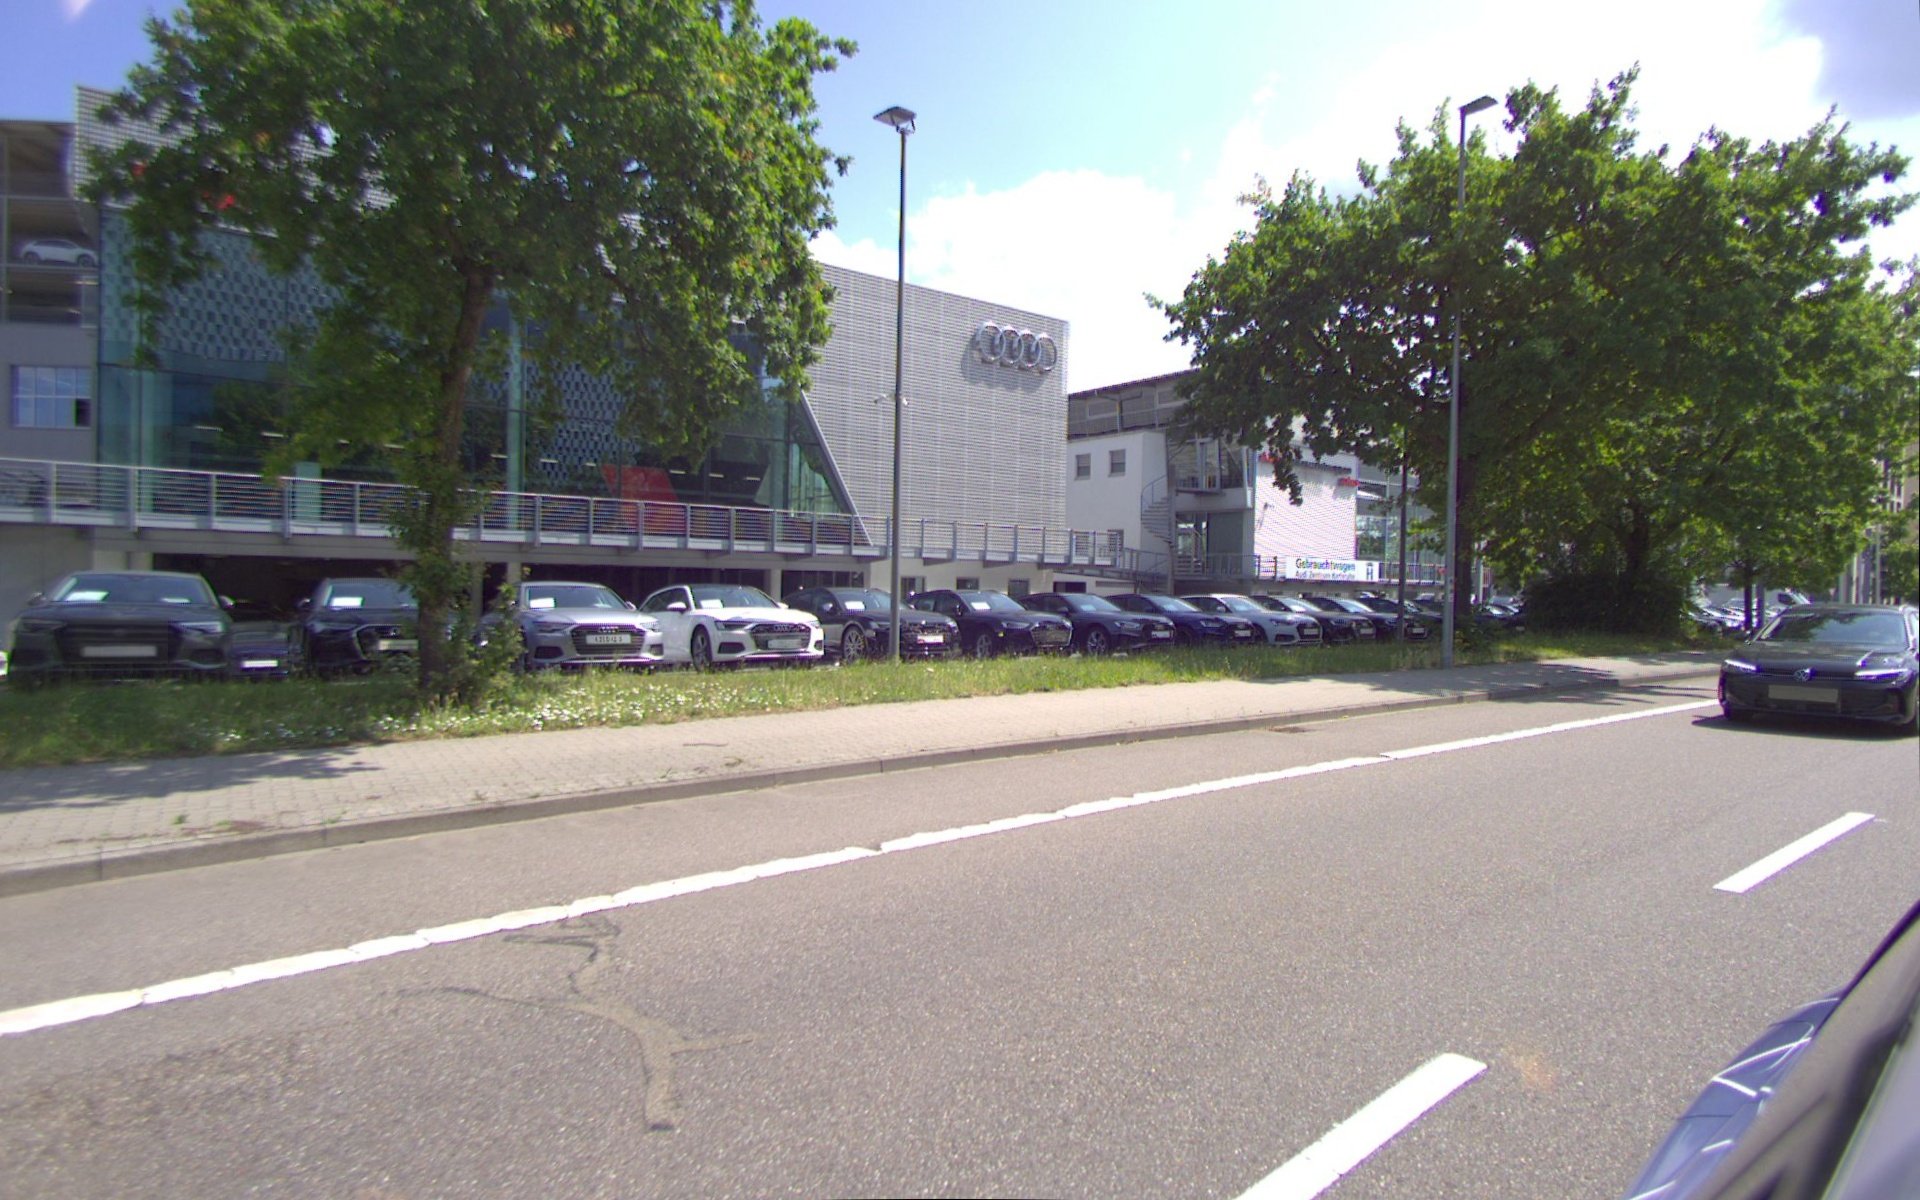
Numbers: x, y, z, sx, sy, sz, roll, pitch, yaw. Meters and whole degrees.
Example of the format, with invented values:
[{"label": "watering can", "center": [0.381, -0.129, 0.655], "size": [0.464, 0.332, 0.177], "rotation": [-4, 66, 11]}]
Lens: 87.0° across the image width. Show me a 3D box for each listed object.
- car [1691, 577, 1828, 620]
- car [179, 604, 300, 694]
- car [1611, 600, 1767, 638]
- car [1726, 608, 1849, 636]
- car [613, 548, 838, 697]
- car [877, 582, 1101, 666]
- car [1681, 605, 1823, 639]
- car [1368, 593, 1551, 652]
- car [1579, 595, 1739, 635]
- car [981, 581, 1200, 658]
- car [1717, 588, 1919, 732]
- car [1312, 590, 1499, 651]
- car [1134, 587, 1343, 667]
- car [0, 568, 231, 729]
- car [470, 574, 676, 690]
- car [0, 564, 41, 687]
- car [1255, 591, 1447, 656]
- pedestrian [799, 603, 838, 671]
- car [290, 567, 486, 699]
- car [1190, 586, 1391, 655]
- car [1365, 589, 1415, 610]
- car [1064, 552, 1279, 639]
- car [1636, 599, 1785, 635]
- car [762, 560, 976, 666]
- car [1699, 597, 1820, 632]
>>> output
[{"label": "car", "center": [53.244, -0.100, 67.609], "size": [2.096, 2.640, 6.871], "rotation": [2, -1, -29]}, {"label": "car", "center": [-14.971, 0.917, 21.033], "size": [1.871, 1.517, 4.360], "rotation": [0, 1, -36]}, {"label": "car", "center": [28.498, 0.786, 39.702], "size": [1.871, 1.314, 4.586], "rotation": [2, -4, -36]}, {"label": "car", "center": [42.436, 1.110, 52.014], "size": [1.871, 1.314, 4.588], "rotation": [3, -1, -36]}, {"label": "car", "center": [-3.972, 0.323, 16.520], "size": [1.871, 2.075, 4.588], "rotation": [3, -1, -36]}, {"label": "car", "center": [0.416, 0.418, 19.530], "size": [1.871, 1.423, 4.588], "rotation": [3, -1, -36]}, {"label": "car", "center": [34.674, 0.951, 44.433], "size": [1.871, 1.314, 4.588], "rotation": [3, -1, -36]}, {"label": "car", "center": [14.891, 0.608, 30.424], "size": [1.871, 1.517, 4.589], "rotation": [0, 1, -36]}, {"label": "car", "center": [26.070, 0.592, 37.908], "size": [1.871, 1.402, 4.587], "rotation": [3, -3, -36]}, {"label": "car", "center": [2.578, 0.359, 21.086], "size": [1.871, 1.423, 4.588], "rotation": [3, -1, -36]}, {"label": "car", "center": [11.579, 0.679, 13.013], "size": [5.110, 1.497, 1.812], "rotation": [2, 0, -40]}, {"label": "car", "center": [12.687, 0.513, 29.076], "size": [1.871, 1.517, 4.589], "rotation": [0, 1, -36]}, {"label": "car", "center": [6.468, 0.579, 24.006], "size": [1.871, 1.699, 4.588], "rotation": [3, -1, -36]}, {"label": "car", "center": [-9.769, 0.408, 11.978], "size": [1.820, 1.531, 4.369], "rotation": [0, 1, -36]}, {"label": "car", "center": [-5.803, 0.364, 14.874], "size": [1.784, 1.421, 4.120], "rotation": [0, 1, -36]}, {"label": "car", "center": [-13.348, 0.298, 12.964], "size": [1.820, 1.531, 4.369], "rotation": [0, 1, -36]}, {"label": "car", "center": [10.521, 0.575, 27.541], "size": [1.871, 1.517, 4.589], "rotation": [0, 1, -36]}, {"label": "pedestrian", "center": [-3.834, 0.993, 27.369], "size": [0.806, 1.797, 0.781], "rotation": [2, -1, -24]}, {"label": "car", "center": [-7.686, 0.350, 13.413], "size": [1.820, 1.463, 4.120], "rotation": [1, 0, -36]}, {"label": "car", "center": [8.200, 0.446, 25.527], "size": [1.871, 1.517, 4.589], "rotation": [0, 1, -36]}, {"label": "car", "center": [37.524, -0.017, 88.260], "size": [4.502, 1.699, 1.907], "rotation": [2, -1, -35]}, {"label": "car", "center": [4.562, -0.092, 22.515], "size": [1.871, 1.699, 4.588], "rotation": [3, -1, -36]}, {"label": "car", "center": [30.701, 0.667, 41.525], "size": [1.871, 1.314, 4.588], "rotation": [3, -1, -36]}, {"label": "car", "center": [-1.746, 0.340, 17.848], "size": [1.752, 1.533, 4.357], "rotation": [3, -6, -36]}, {"label": "car", "center": [36.415, 0.692, 46.196], "size": [1.762, 1.483, 3.997], "rotation": [0, -2, -36]}]
